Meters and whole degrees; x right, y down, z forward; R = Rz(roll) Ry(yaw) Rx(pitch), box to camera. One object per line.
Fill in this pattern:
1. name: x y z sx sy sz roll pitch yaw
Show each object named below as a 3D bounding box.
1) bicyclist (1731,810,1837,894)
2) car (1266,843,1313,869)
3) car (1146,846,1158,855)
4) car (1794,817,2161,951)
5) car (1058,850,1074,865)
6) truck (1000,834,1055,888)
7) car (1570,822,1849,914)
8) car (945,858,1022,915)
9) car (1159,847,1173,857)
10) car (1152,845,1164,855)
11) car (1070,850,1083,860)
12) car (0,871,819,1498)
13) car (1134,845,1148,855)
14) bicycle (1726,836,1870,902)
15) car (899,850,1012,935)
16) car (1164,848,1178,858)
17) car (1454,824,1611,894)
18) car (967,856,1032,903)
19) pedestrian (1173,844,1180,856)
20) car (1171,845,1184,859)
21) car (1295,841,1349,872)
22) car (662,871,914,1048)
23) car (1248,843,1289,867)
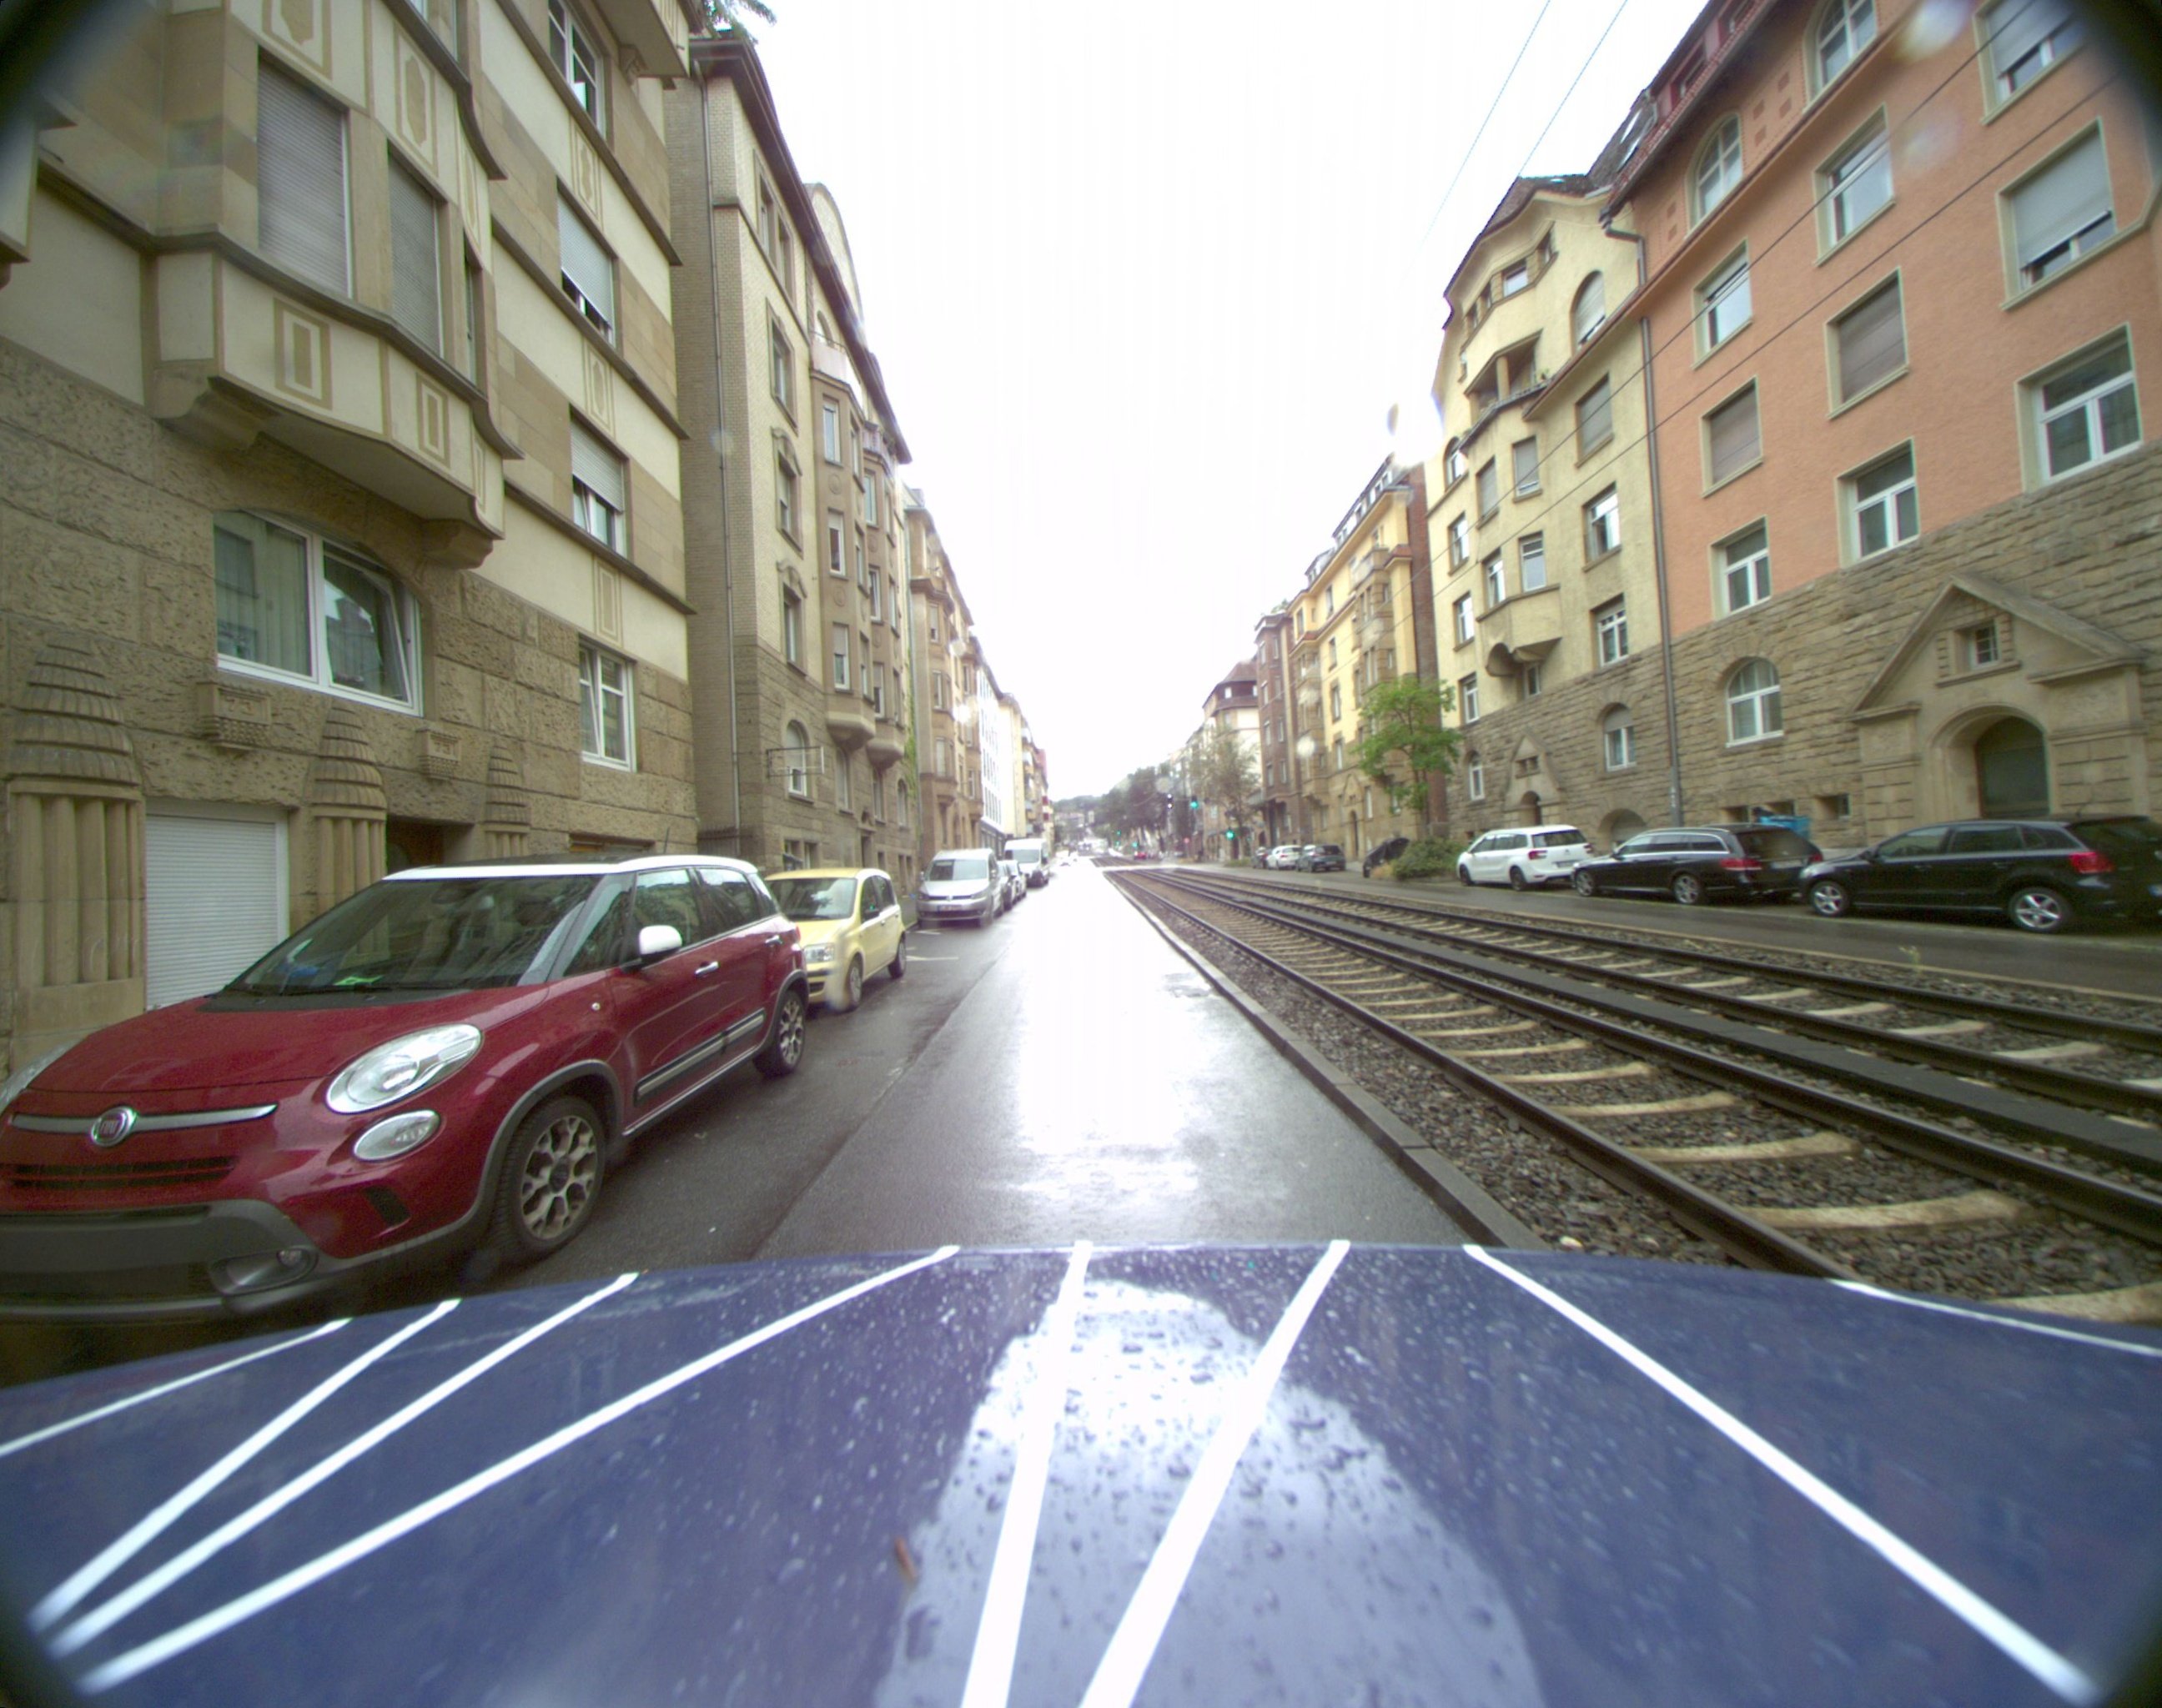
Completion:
1. bicyclist: 14.173 -0.035 15.359 0.887 1.588 1.253 -3 1 -4
2. car: 12.480 0.107 45.647 1.771 1.433 4.031 -3 0 2
3. car: 12.449 -0.665 133.698 1.632 1.537 3.801 -3 0 1
4. car: 12.534 0.309 10.461 1.935 1.488 3.641 -2 1 -2
5. car: -2.063 0.467 105.277 1.998 1.838 4.000 -3 0 1
6. truck: -2.716 0.339 39.941 2.235 2.521 6.143 -3 0 1
7. car: 12.296 0.241 15.379 1.847 1.486 4.601 -3 0 1
8. car: -2.958 0.939 23.812 1.999 1.521 3.999 -3 0 -3
9. car: 12.882 -0.306 115.359 1.771 1.507 3.845 -3 0 1
10. car: 12.852 -0.665 126.829 1.657 1.589 3.775 -3 0 1
11. car: -0.786 0.129 132.183 1.998 1.562 4.000 -3 0 1
12. car: -3.028 0.982 4.088 1.807 1.590 3.999 -3 0 -1
13. car: 9.934 -0.596 125.785 1.808 1.514 4.963 -3 0 -1
14. bicycle: 14.172 0.276 15.113 0.826 1.179 2.036 -3 0 -3
15. car: -3.004 0.850 19.195 1.968 1.792 4.459 -3 0 1
16. car: 12.586 -0.116 106.377 1.583 1.303 3.845 -3 0 1
17. car: 12.278 0.128 21.041 1.867 1.646 4.146 -3 0 1
18. car: -2.946 0.881 28.312 1.891 1.521 3.929 -3 0 1
19. pedestrian: 16.078 -0.723 127.761 1.056 1.946 1.163 -3 1 2
20. car: 12.684 -0.260 99.539 1.583 1.669 3.790 -3 2 7
21. car: 12.511 0.119 39.608 1.678 1.433 3.845 -4 1 3
22. car: -3.184 1.044 9.037 1.580 1.520 3.578 -3 0 -1
23. car: 12.490 0.054 50.742 1.771 1.433 3.845 -3 0 1
